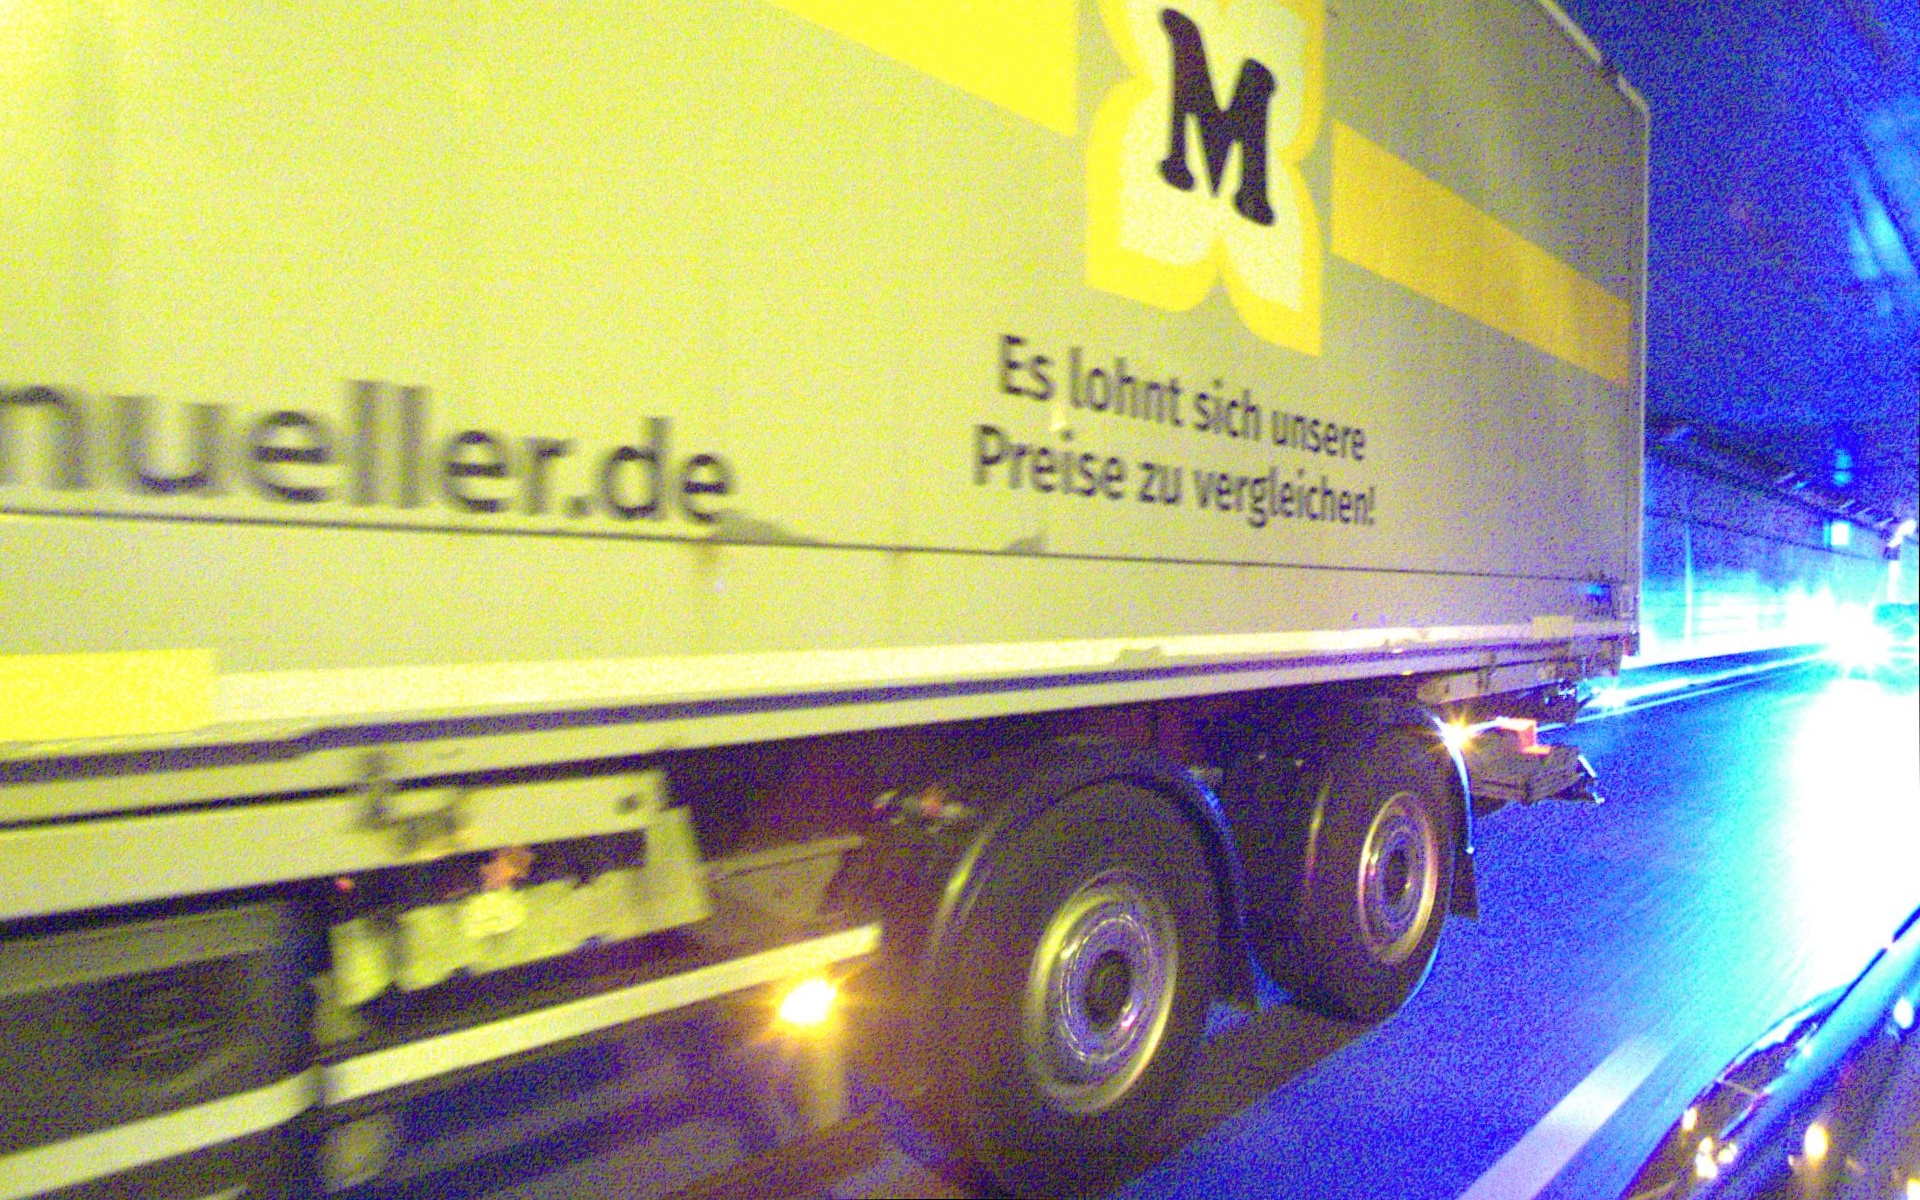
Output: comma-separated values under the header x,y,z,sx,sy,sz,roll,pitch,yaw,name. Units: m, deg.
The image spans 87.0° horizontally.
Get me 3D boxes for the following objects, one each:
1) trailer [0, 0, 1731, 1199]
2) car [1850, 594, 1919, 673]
x,y,z,sx,sy,sz,roll,pitch,yaw,name
-0.494,-0.565,3.250,8.790,3.906,2.881,0,2,-41,trailer
18.877,0.610,19.781,3.732,1.420,1.734,-1,1,-41,car
